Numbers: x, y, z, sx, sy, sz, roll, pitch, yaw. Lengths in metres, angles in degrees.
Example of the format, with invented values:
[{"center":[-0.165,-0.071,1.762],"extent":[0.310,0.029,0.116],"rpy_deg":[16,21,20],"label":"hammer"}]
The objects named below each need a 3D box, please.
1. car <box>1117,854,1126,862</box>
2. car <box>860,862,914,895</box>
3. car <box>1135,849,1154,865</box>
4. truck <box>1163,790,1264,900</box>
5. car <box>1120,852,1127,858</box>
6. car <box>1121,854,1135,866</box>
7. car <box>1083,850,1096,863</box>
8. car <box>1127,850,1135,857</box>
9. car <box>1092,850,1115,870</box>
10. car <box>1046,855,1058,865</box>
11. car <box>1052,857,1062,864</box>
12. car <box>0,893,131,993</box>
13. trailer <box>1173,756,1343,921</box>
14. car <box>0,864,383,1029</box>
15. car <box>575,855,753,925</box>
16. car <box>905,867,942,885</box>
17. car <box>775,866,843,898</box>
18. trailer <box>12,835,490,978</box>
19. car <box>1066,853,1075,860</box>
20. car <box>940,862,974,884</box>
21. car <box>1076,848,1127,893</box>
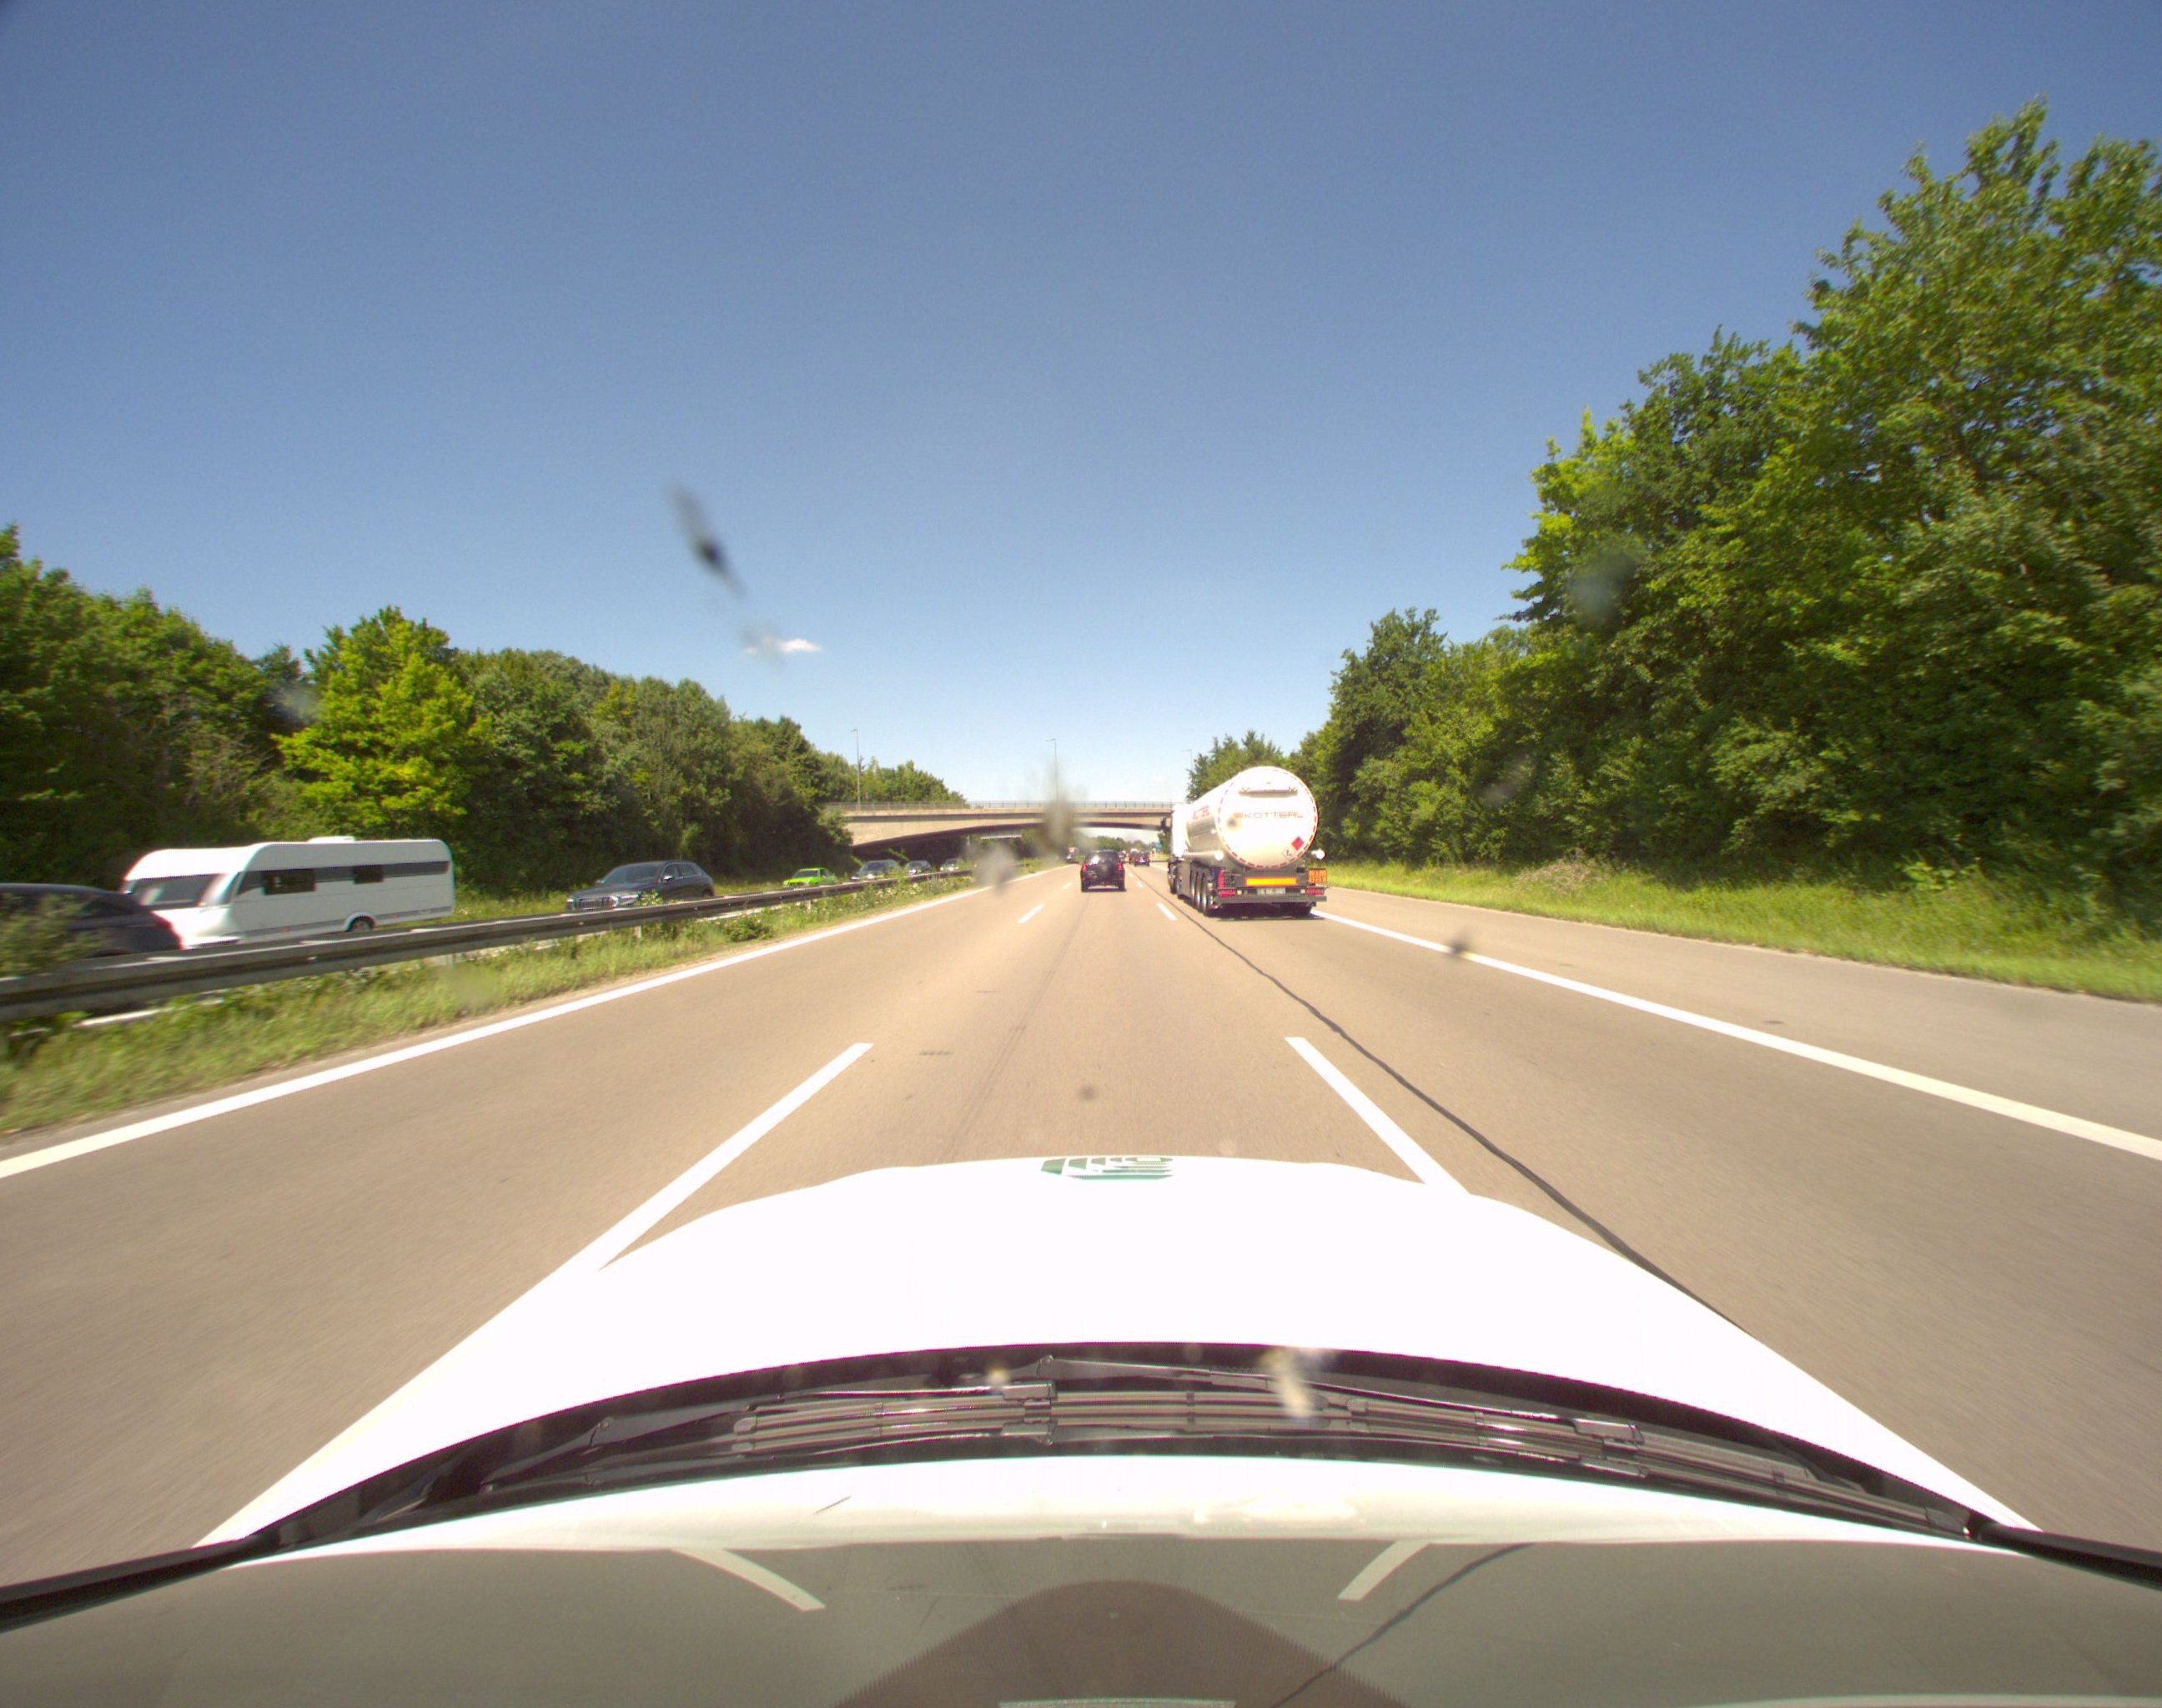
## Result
[{"center":[9.241,0.854,187.081],"extent":[1.986,1.750,4.206],"rpy_deg":[-2,0,2],"label":"car"},{"center":[-10.723,1.332,45.281],"extent":[1.865,1.693,4.001],"rpy_deg":[-1,0,2],"label":"car"},{"center":[7.266,0.376,93.319],"extent":[1.986,1.684,4.002],"rpy_deg":[-2,-1,2],"label":"car"},{"center":[4.441,-0.273,28.633],"extent":[2.628,3.374,6.490],"rpy_deg":[-1,0,2],"label":"truck"},{"center":[13.256,0.201,254.680],"extent":[1.805,1.746,4.001],"rpy_deg":[-2,0,1],"label":"car"},{"center":[6.530,0.818,112.488],"extent":[1.835,1.611,4.002],"rpy_deg":[-2,-1,3],"label":"car"},{"center":[1.465,0.443,142.698],"extent":[1.986,2.013,4.952],"rpy_deg":[-3,0,2],"label":"car"},{"center":[12.972,-0.174,211.918],"extent":[1.806,1.746,4.000],"rpy_deg":[-2,0,0],"label":"car"},{"center":[2.120,0.541,75.588],"extent":[1.986,1.706,4.337],"rpy_deg":[-3,0,1],"label":"car"},{"center":[-5.414,1.117,152.642],"extent":[1.789,1.666,4.132],"rpy_deg":[-2,0,3],"label":"car"},{"center":[-5.568,1.513,190.804],"extent":[1.892,1.641,4.002],"rpy_deg":[-2,-1,2],"label":"car"},{"center":[-19.395,1.597,13.356],"extent":[1.839,1.606,4.812],"rpy_deg":[-2,0,2],"label":"car"},{"center":[4.293,-0.320,22.465],"extent":[2.638,3.390,11.157],"rpy_deg":[-1,0,2],"label":"trailer"},{"center":[-11.229,0.953,9.731],"extent":[1.843,1.574,4.424],"rpy_deg":[-2,-1,2],"label":"car"},{"center":[-11.057,0.863,22.114],"extent":[1.986,1.604,5.092],"rpy_deg":[-2,0,2],"label":"car"},{"center":[-13.017,1.819,67.731],"extent":[1.986,1.396,4.661],"rpy_deg":[-2,-1,2],"label":"car"},{"center":[-14.254,1.431,42.995],"extent":[1.737,1.427,4.806],"rpy_deg":[-2,0,2],"label":"car"},{"center":[-19.281,1.011,20.161],"extent":[2.721,2.687,8.634],"rpy_deg":[-2,0,2],"label":"trailer"},{"center":[-2.712,0.622,208.567],"extent":[1.852,1.527,4.754],"rpy_deg":[-2,0,2],"label":"car"},{"center":[-9.964,1.471,65.829],"extent":[1.908,1.601,4.436],"rpy_deg":[-2,0,2],"label":"car"},{"center":[0.828,0.654,33.459],"extent":[1.900,1.665,4.000],"rpy_deg":[-2,0,1],"label":"car"}]
